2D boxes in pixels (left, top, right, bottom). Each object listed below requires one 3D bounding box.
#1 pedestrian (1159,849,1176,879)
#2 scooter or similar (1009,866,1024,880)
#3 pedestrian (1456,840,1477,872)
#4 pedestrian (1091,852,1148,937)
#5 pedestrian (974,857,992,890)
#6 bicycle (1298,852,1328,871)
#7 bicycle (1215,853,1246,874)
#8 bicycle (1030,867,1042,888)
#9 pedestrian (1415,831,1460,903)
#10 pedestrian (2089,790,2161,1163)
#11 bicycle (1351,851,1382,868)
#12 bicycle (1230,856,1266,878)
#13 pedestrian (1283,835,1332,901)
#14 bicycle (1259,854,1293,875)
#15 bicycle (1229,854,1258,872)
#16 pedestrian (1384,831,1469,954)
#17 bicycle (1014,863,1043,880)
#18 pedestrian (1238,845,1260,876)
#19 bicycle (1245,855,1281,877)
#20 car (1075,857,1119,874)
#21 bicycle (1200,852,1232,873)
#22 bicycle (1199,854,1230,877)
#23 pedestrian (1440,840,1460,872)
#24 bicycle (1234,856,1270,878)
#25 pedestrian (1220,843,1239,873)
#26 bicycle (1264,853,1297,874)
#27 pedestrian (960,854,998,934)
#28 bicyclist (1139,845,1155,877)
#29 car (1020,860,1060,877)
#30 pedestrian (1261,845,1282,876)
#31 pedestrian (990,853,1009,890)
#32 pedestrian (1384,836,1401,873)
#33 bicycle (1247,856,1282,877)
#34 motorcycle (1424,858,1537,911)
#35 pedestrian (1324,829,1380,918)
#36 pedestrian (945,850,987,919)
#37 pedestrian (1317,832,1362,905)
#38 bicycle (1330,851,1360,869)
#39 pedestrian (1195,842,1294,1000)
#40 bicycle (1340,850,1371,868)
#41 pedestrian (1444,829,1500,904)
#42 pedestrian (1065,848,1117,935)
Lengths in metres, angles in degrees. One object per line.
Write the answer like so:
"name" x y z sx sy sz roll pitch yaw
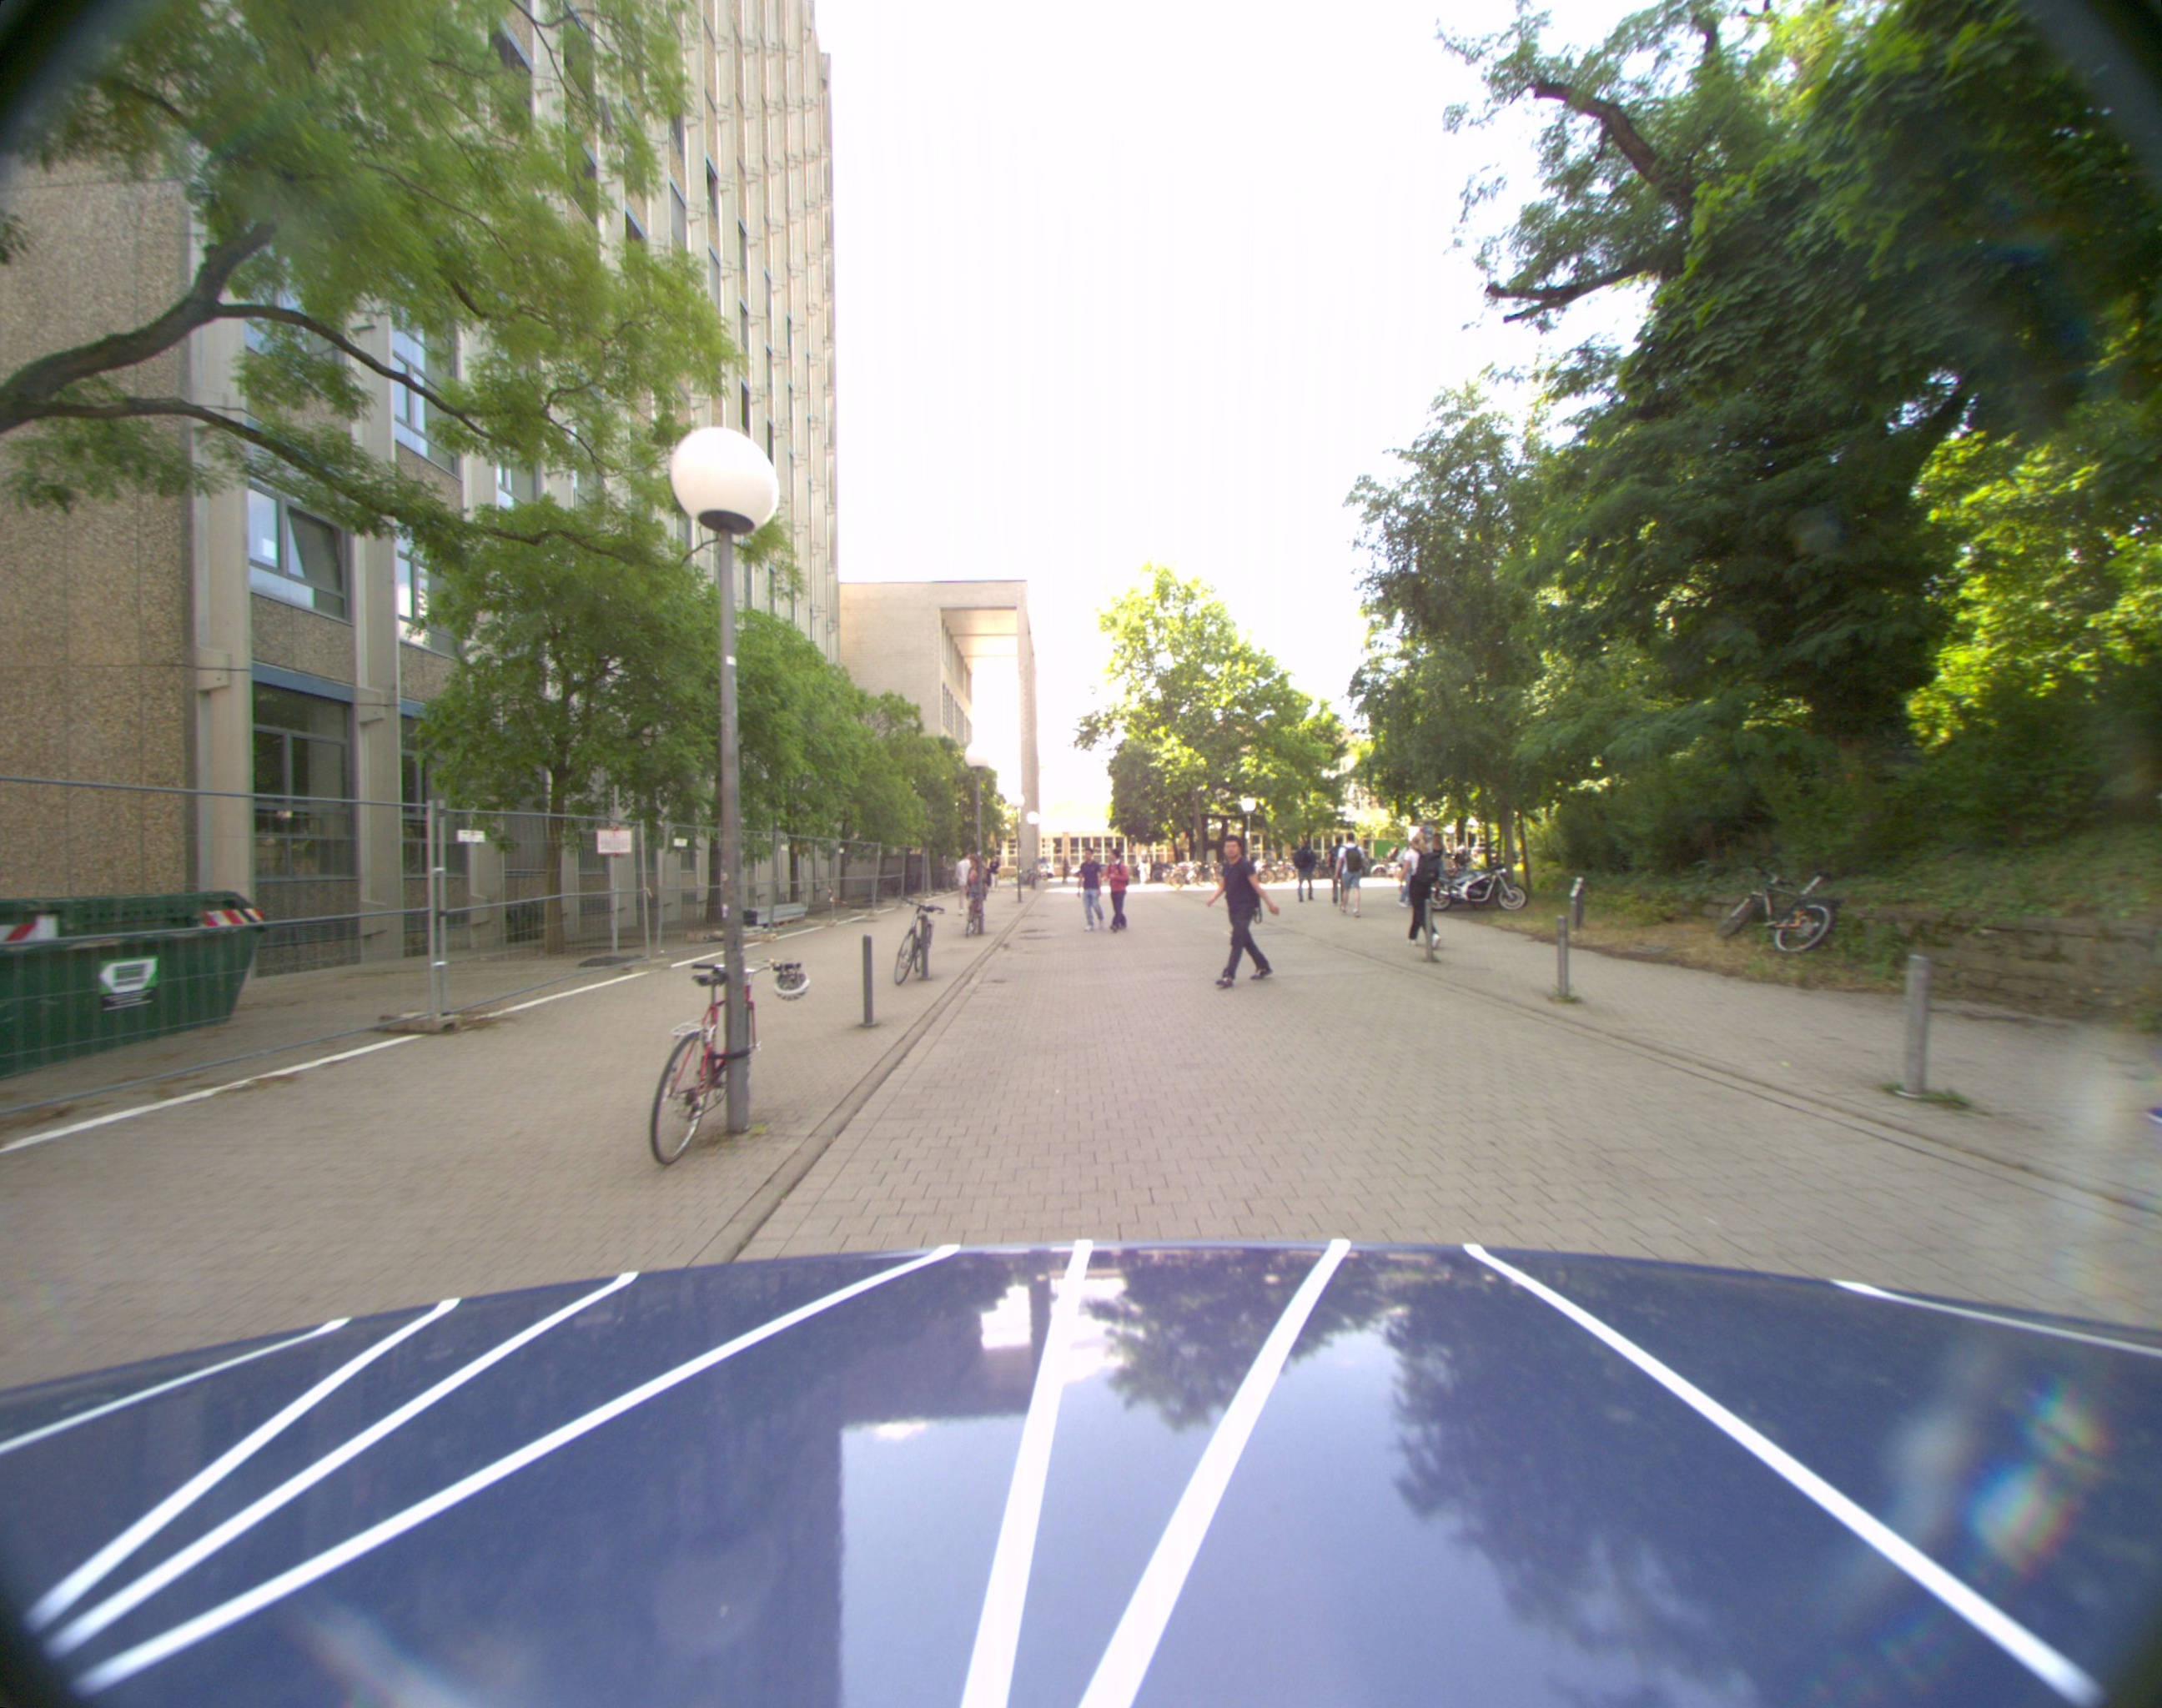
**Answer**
"pedestrian" 4.922 0.566 43.135 0.768 1.670 0.908 -1 0 19
"scooter or similar" -5.451 1.601 64.031 1.157 1.144 0.444 -1 0 4
"pedestrian" 22.231 0.113 43.839 0.986 1.793 0.768 -3 1 -44
"pedestrian" 0.815 0.816 15.863 0.717 1.714 1.067 -2 0 32
"pedestrian" -4.911 0.962 38.105 0.703 1.645 0.881 -1 0 -19
"bicycle" 13.547 0.455 44.370 0.475 1.077 1.695 -3 1 -38
"bicycle" 9.147 0.590 46.558 1.695 1.193 0.577 -2 1 35
"bicycle" -2.361 1.224 40.061 0.538 1.033 1.858 -1 0 -1
"pedestrian" 8.757 0.320 18.669 0.687 1.714 0.729 -1 0 -37
"pedestrian" 5.317 0.556 3.234 0.684 1.718 1.020 -3 1 -5
"bicycle" 18.558 0.346 49.393 0.475 1.077 1.854 -3 1 -38
"bicycle" 8.677 0.686 39.467 1.695 1.077 0.475 -2 1 31
"pedestrian" 6.629 0.410 22.249 1.034 1.847 0.886 -3 1 -40
"bicycle" 10.486 0.576 40.914 1.695 1.077 0.475 -2 1 35
"bicycle" 10.182 0.557 47.743 1.695 1.101 0.504 -2 1 35
"pedestrian" 5.104 0.542 11.276 0.684 1.718 1.001 -3 1 -5
"bicycle" -3.252 1.070 46.966 1.744 1.033 0.449 -1 -1 -5
"pedestrian" 9.555 0.373 43.231 0.904 1.693 0.771 -2 1 36
"bicycle" 9.475 0.647 39.610 1.695 1.077 0.475 -2 1 35
"car" 1.571 1.134 75.884 4.209 1.468 1.653 -2 2 -1
"bicycle" 7.648 0.474 43.056 1.700 1.101 0.502 -3 1 -12
"bicycle" 7.747 0.662 44.118 1.700 1.213 0.502 -3 1 -12
"pedestrian" 21.557 0.125 44.362 0.832 1.804 0.884 -2 1 37
"bicycle" 8.737 0.678 38.856 1.695 1.077 0.475 -2 1 30
"pedestrian" 8.938 0.229 45.790 0.771 1.796 0.708 -3 1 -34
"bicycle" 11.003 0.540 41.902 1.695 1.077 0.475 -2 1 35
"pedestrian" -2.253 0.872 16.909 0.686 1.714 0.731 -3 1 -3
"bicyclist" 3.253 0.335 37.462 0.595 1.559 0.721 -3 1 -9
"car" -4.059 1.436 75.647 3.777 1.468 1.653 -1 2 -1
"pedestrian" 10.701 0.344 42.670 0.905 1.693 0.771 -2 1 33
"pedestrian" -4.050 0.879 37.823 0.703 1.792 0.881 -1 0 -19
"pedestrian" 15.531 0.027 37.902 0.612 1.825 1.052 -2 1 30
"bicycle" 9.674 0.653 40.055 1.695 1.077 0.475 -2 1 35
"motorcycle" 8.416 0.657 16.076 2.021 1.041 0.475 -4 0 42
"pedestrian" 5.995 0.418 16.839 0.726 1.870 1.082 -3 1 -5
"pedestrian" -3.240 0.849 21.262 0.786 1.834 1.116 -3 1 -25
"pedestrian" 6.777 0.364 19.970 0.684 1.862 1.120 -3 1 -5
"bicycle" 16.179 0.381 46.625 0.475 1.077 1.695 -3 1 -38
"pedestrian" 1.916 0.739 8.871 0.684 1.714 0.906 -2 1 42
"bicycle" 17.554 0.342 48.612 0.475 1.077 1.854 -3 1 -38
"pedestrian" 9.235 0.284 17.964 0.678 1.714 0.935 -1 0 -37
"pedestrian" 0.221 0.785 16.342 0.684 1.824 0.943 -2 0 34
